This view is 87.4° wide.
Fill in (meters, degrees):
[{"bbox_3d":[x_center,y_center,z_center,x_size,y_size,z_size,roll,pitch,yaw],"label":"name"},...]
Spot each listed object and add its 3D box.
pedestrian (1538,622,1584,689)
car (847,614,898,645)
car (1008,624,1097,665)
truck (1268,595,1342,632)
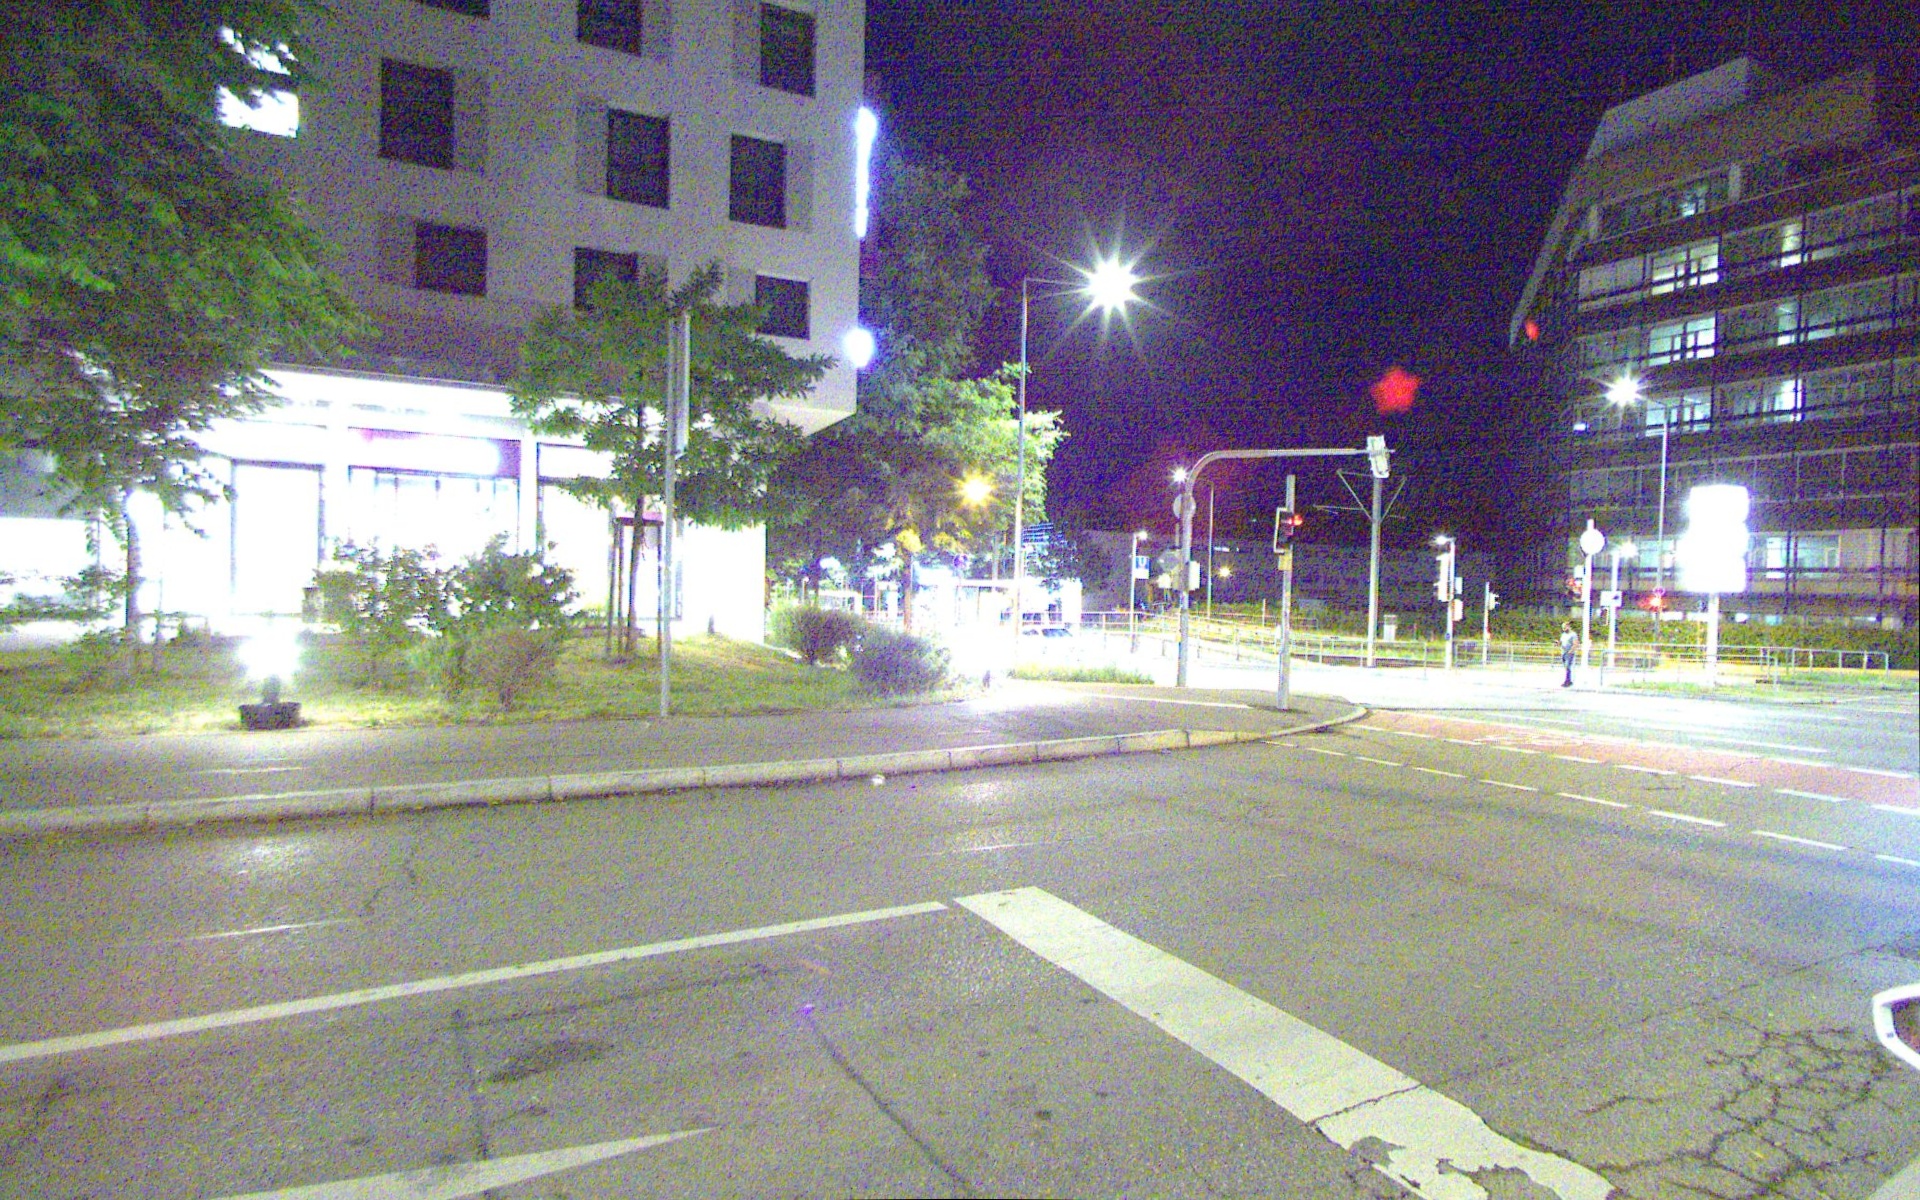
[{"bbox_3d":[15.383,1.418,25.708,0.854,1.656,0.665,2,0,-34],"label":"pedestrian"},{"bbox_3d":[-4.775,1.638,54.567,1.877,1.591,3.985,2,-4,-18],"label":"car"},{"bbox_3d":[3.591,1.716,39.897,1.793,1.522,4.177,0,-1,-23],"label":"car"},{"bbox_3d":[30.729,1.175,89.727,2.877,3.129,5.873,2,0,-28],"label":"truck"}]
